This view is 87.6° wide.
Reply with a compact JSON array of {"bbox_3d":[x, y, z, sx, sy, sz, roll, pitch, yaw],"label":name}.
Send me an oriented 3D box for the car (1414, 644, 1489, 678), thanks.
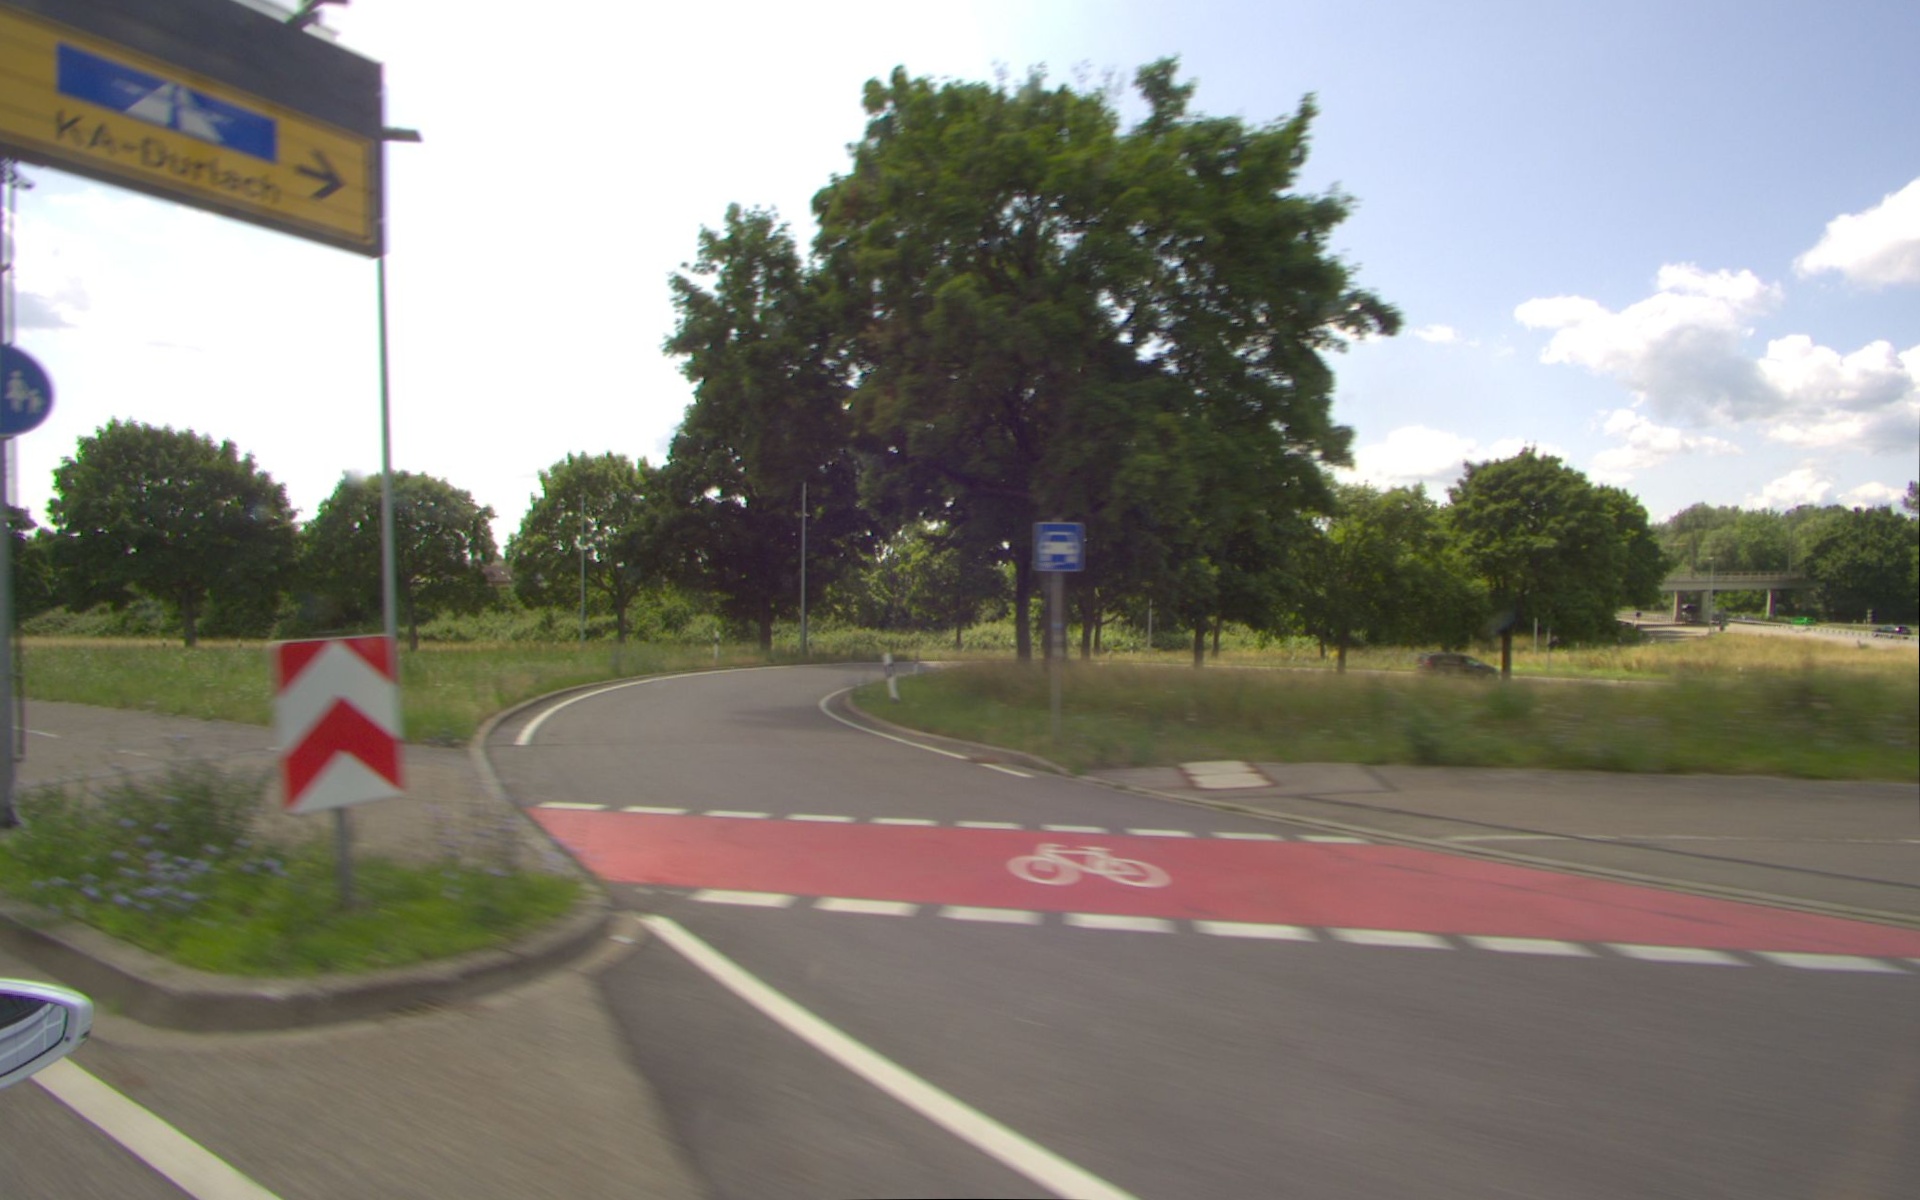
[{"bbox_3d":[31.829,3.934,64.893,3.924,2.040,1.999,1,0,-9],"label":"car"}]
